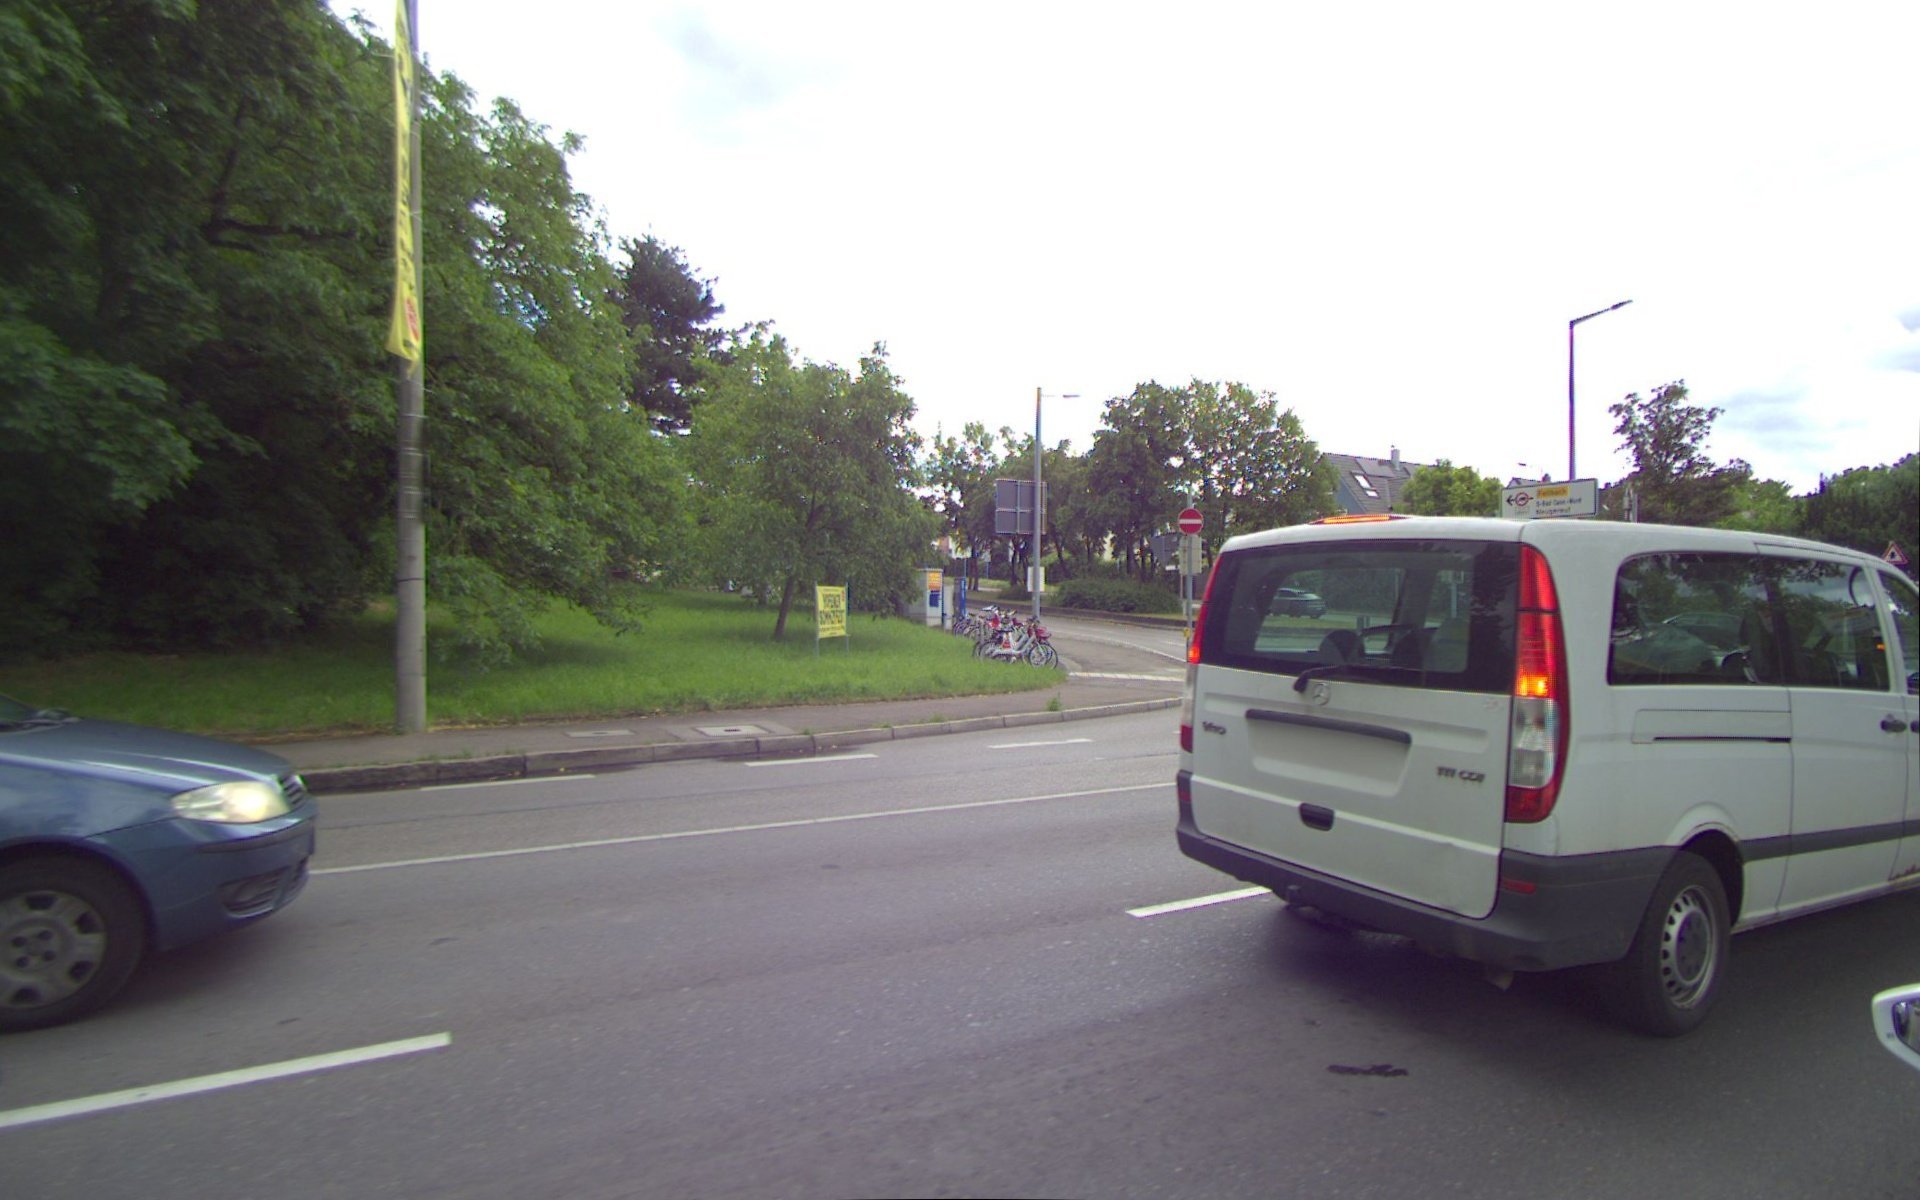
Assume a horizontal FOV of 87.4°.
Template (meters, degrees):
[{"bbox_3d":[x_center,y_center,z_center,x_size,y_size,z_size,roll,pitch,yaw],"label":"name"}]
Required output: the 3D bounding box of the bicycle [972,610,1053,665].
[{"bbox_3d":[1.293,0.910,24.736,1.896,1.269,0.546,2,1,8],"label":"bicycle"}]

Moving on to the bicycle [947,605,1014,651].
[{"bbox_3d":[0.606,0.828,29.747,1.902,1.269,0.544,2,1,-13],"label":"bicycle"}]

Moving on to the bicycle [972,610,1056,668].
[{"bbox_3d":[1.292,0.920,23.808,1.896,1.269,0.546,2,1,8],"label":"bicycle"}]

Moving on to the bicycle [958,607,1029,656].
[{"bbox_3d":[0.938,0.861,27.924,1.896,1.269,0.546,2,1,4],"label":"bicycle"}]

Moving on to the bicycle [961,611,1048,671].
[{"bbox_3d":[1.025,0.920,22.934,1.896,1.269,0.546,2,1,8],"label":"bicycle"}]

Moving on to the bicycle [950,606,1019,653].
[{"bbox_3d":[0.704,0.840,29.038,1.899,1.269,0.545,2,1,-8],"label":"bicycle"}]

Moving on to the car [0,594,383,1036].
[{"bbox_3d":[-4.392,0.727,3.663,3.880,1.487,1.585,1,-2,-29],"label":"car"}]

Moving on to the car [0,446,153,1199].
[{"bbox_3d":[-3.588,0.564,0.823,4.283,1.741,1.743,2,-1,-30],"label":"car"}]

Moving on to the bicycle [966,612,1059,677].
[{"bbox_3d":[1.125,0.940,21.487,1.896,1.269,0.546,2,1,8],"label":"bicycle"}]

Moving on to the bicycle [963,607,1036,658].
[{"bbox_3d":[1.055,0.876,26.986,1.896,1.269,0.546,2,1,4],"label":"bicycle"}]

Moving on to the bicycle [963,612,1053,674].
[{"bbox_3d":[1.063,0.930,22.142,1.896,1.269,0.546,2,1,8],"label":"bicycle"}]

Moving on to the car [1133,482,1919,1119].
[{"bbox_3d":[3.520,0.635,5.094,5.219,1.867,1.898,1,0,-30],"label":"car"}]

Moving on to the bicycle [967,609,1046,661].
[{"bbox_3d":[1.185,0.895,25.724,1.902,1.269,0.544,2,1,-13],"label":"bicycle"}]
